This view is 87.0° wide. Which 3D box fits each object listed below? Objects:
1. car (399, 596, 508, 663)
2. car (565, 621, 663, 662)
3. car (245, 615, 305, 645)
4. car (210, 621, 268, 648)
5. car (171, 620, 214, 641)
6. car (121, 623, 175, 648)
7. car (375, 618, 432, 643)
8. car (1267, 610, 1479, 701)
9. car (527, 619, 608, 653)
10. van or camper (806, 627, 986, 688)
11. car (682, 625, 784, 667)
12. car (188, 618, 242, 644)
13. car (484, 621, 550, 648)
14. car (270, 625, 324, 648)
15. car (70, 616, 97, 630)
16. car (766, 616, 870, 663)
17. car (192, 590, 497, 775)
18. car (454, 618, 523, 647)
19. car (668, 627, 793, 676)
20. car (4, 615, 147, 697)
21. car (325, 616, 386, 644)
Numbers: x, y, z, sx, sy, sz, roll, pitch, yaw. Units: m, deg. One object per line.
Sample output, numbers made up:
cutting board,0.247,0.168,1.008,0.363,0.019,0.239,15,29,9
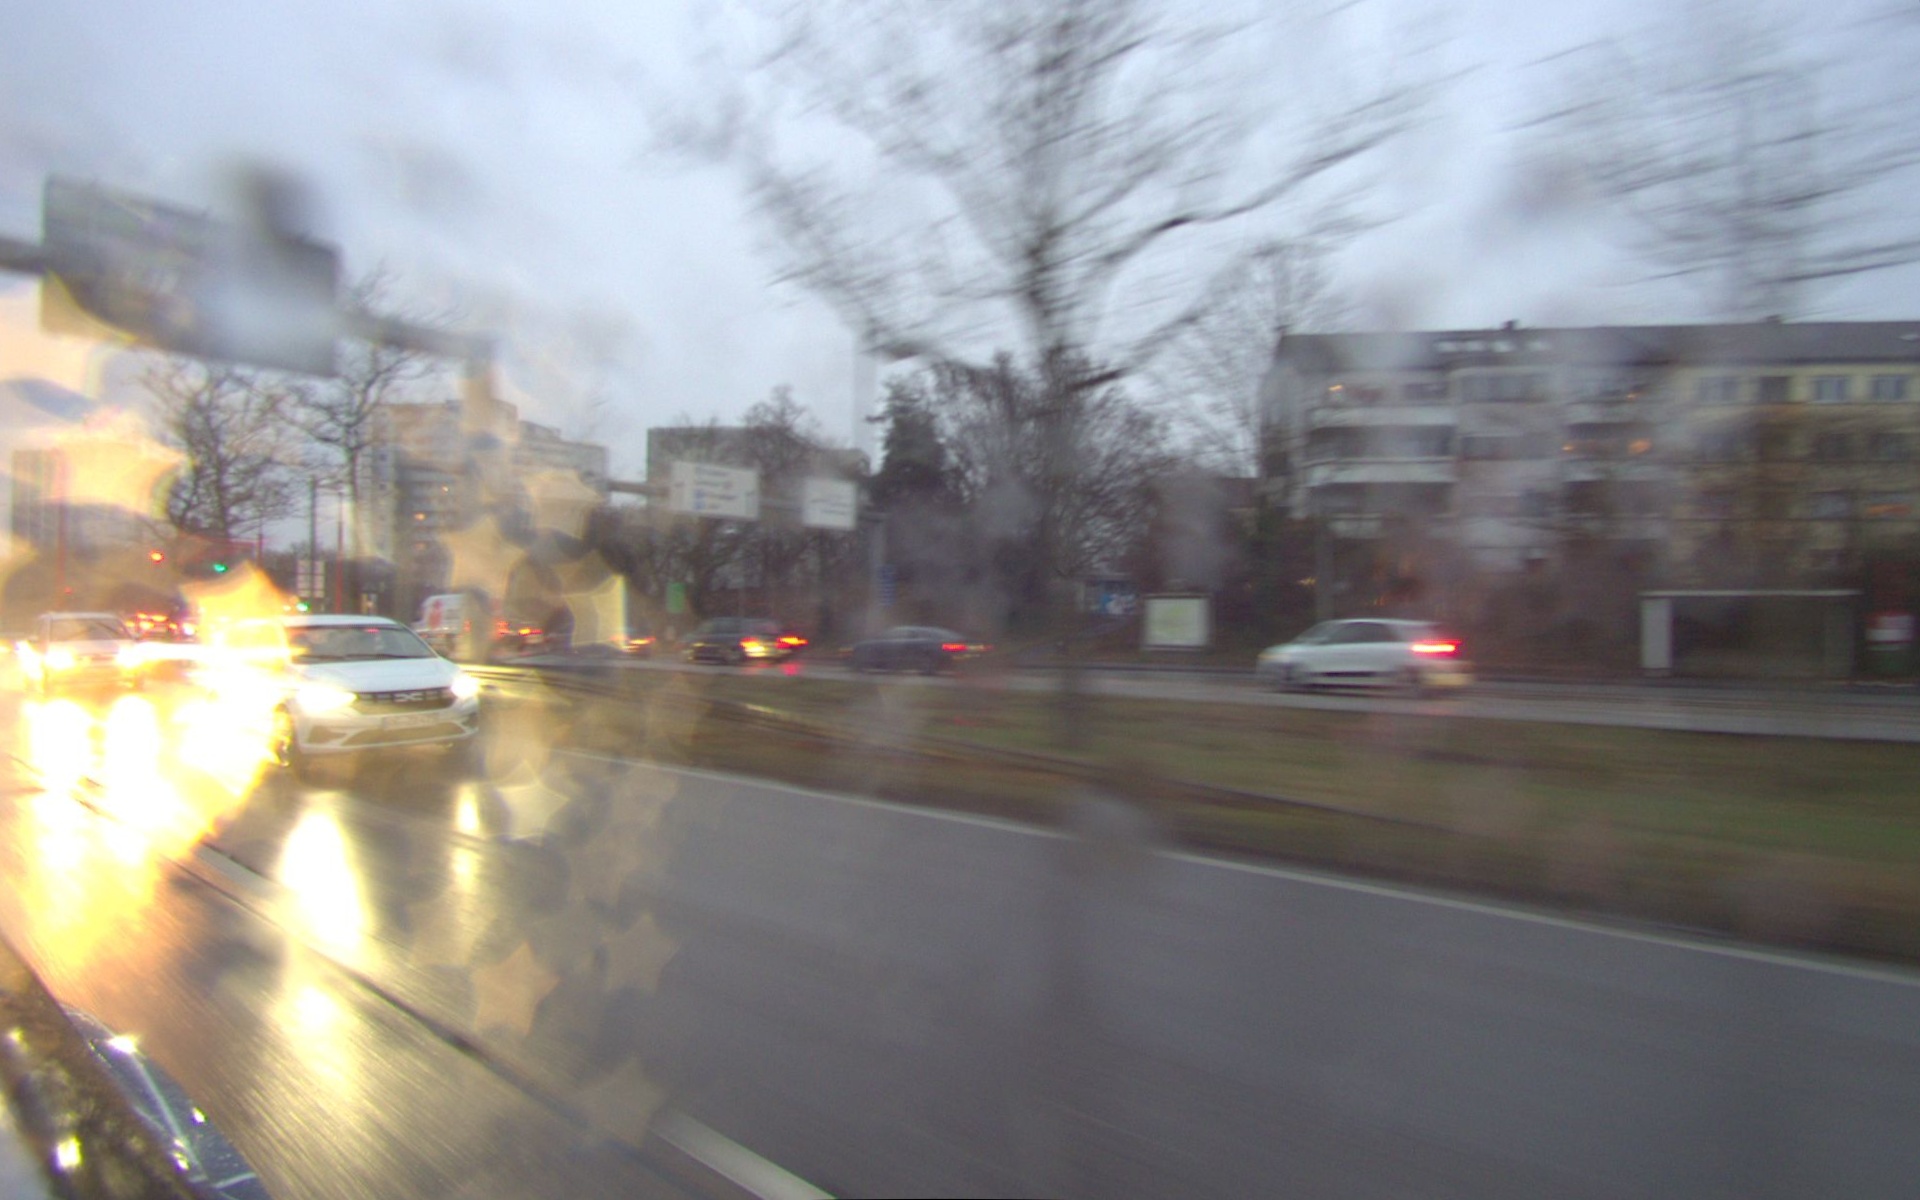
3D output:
car,-24.820,1.346,49.395,7.345,3.027,2.267,0,1,42
car,-13.608,1.582,39.632,1.882,1.457,4.458,0,0,-45
car,-38.588,1.666,56.954,4.030,1.598,1.752,-1,-2,40
car,-43.333,2.032,60.787,4.521,1.545,1.752,-1,-2,40
car,-52.558,2.070,69.321,3.323,1.431,1.635,-1,-2,40
car,-51.085,2.205,63.657,4.837,1.548,1.752,-1,-2,40
car,-34.071,1.846,61.916,3.997,1.409,1.738,-1,-1,40
car,8.236,1.036,20.300,3.571,1.639,1.767,-1,0,40
car,-18.530,1.668,47.736,4.087,1.457,1.884,0,0,41
van or camper,-1.859,1.525,28.088,5.155,1.457,1.884,0,0,41
car,-8.834,1.737,39.166,4.169,1.457,1.718,0,0,41
car,-47.967,1.961,65.099,4.284,1.611,1.838,-1,-2,40
car,-26.395,2.037,60.239,4.440,1.457,1.884,0,0,41
car,-44.715,2.431,68.227,4.646,1.501,1.752,-1,-2,40
car,-102.461,2.716,118.322,3.943,1.565,1.752,-1,-2,40
car,-6.003,1.599,42.479,4.425,1.865,1.972,-1,0,42
car,-6.864,0.762,11.104,4.145,1.660,1.696,0,-1,41
car,-24.709,1.682,52.960,3.997,1.409,1.738,-1,-1,40
car,-7.782,1.697,34.125,4.440,1.457,1.884,0,0,41
car,-19.035,1.124,21.722,4.186,1.551,1.673,0,0,40
car,-34.692,1.698,58.007,4.444,1.548,1.751,-1,-2,42
